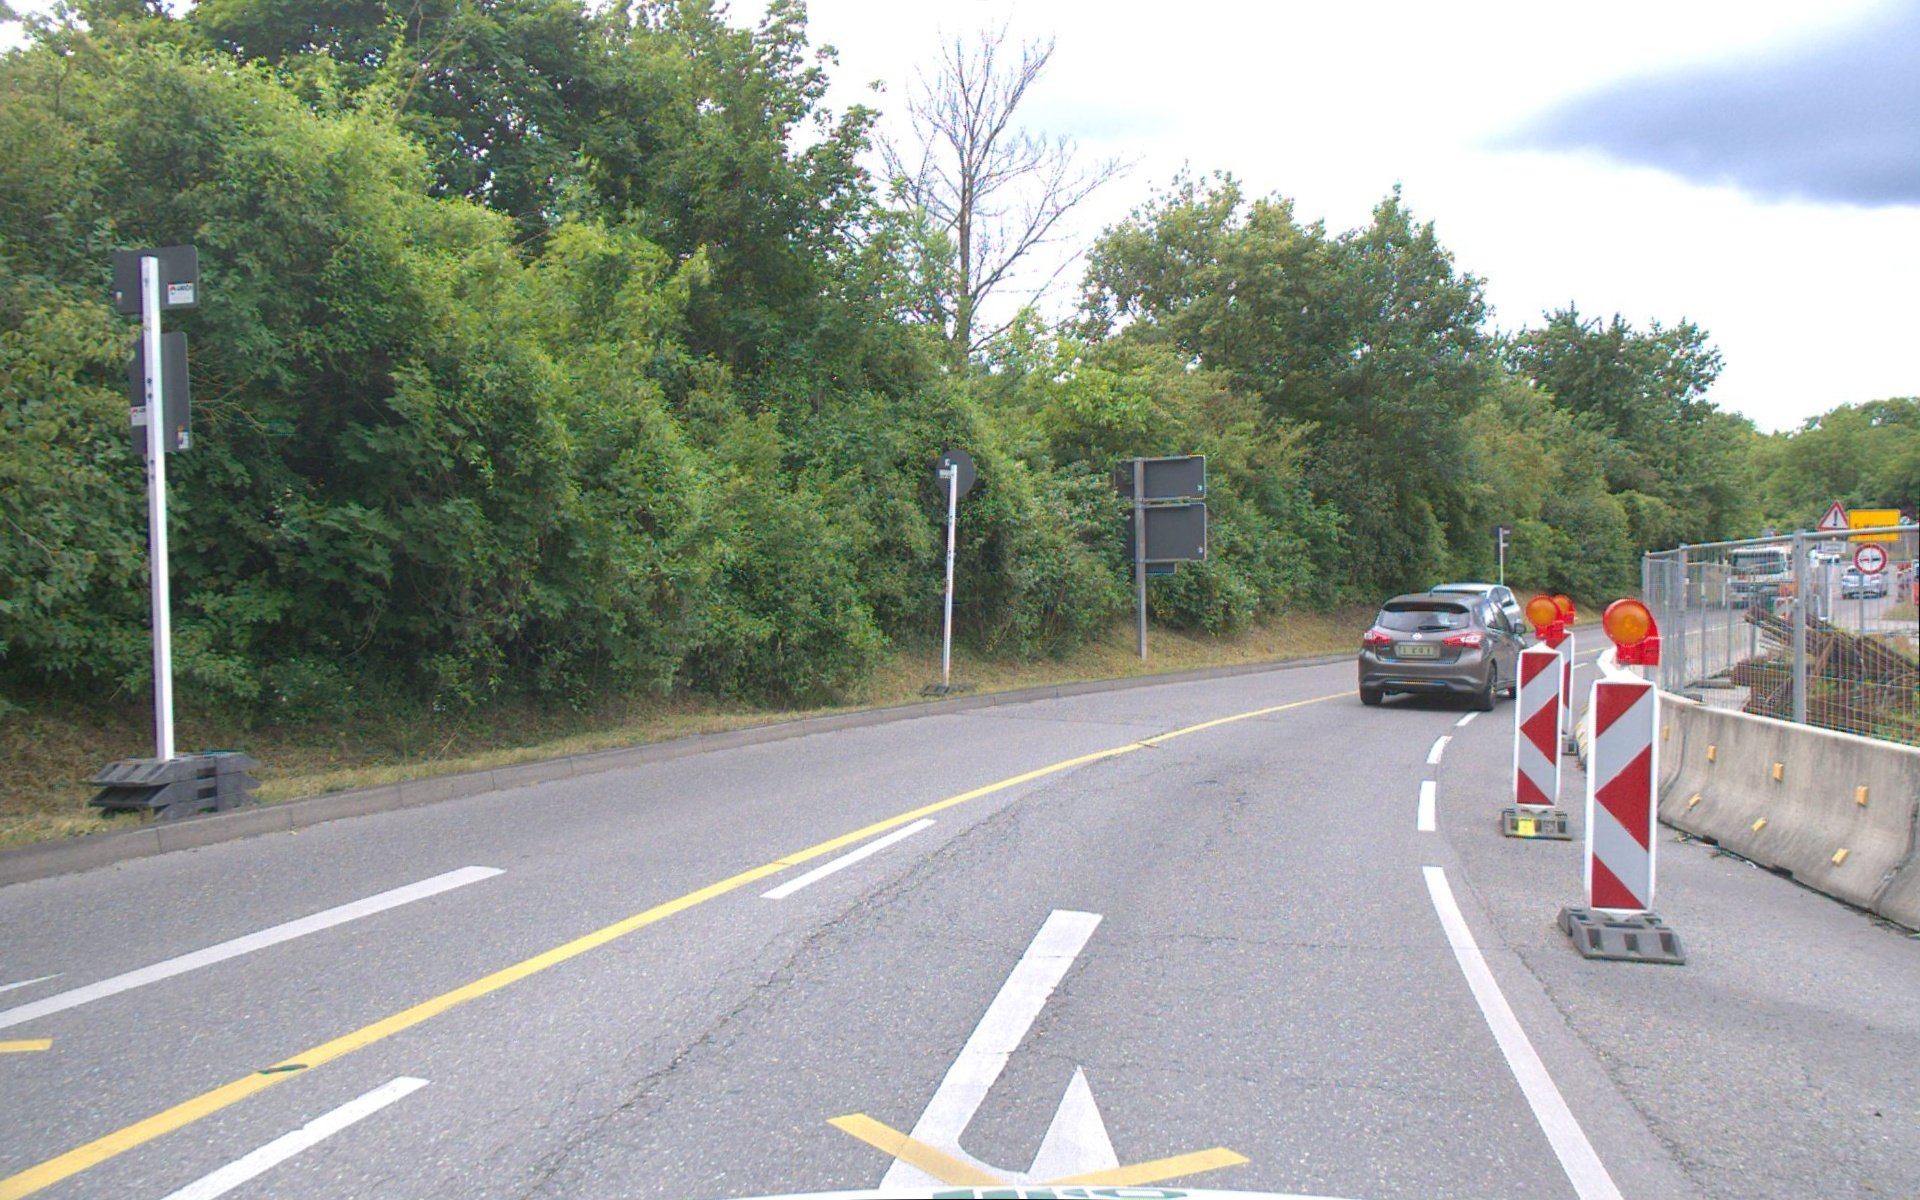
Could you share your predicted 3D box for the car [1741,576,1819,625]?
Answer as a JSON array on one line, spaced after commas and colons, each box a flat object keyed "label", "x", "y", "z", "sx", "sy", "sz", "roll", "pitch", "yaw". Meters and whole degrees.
[{"label": "car", "x": 28.074, "y": -0.009, "z": 56.568, "sx": 1.789, "sy": 1.579, "sz": 3.774, "roll": 1, "pitch": 1, "yaw": 36}]

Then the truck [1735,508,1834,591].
[{"label": "truck", "x": 36.465, "y": -2.232, "z": 72.978, "sx": 2.771, "sy": 3.394, "sz": 8.354, "roll": -1, "pitch": 1, "yaw": 34}]

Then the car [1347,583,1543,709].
[{"label": "car", "x": 6.922, "y": 0.577, "z": 23.341, "sx": 1.764, "sy": 1.579, "sz": 3.992, "roll": 2, "pitch": 1, "yaw": 30}]

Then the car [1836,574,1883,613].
[{"label": "car", "x": 41.209, "y": -0.275, "z": 75.726, "sx": 1.680, "sy": 1.704, "sz": 3.990, "roll": -1, "pitch": -1, "yaw": 32}]

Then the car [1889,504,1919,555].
[{"label": "car", "x": 41.002, "y": -2.998, "z": 70.536, "sx": 1.960, "sy": 2.049, "sz": 3.984, "roll": -1, "pitch": -1, "yaw": 36}]

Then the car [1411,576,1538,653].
[{"label": "car", "x": 11.556, "y": 0.296, "z": 36.994, "sx": 1.627, "sy": 1.579, "sz": 4.175, "roll": 2, "pitch": 1, "yaw": 33}]
